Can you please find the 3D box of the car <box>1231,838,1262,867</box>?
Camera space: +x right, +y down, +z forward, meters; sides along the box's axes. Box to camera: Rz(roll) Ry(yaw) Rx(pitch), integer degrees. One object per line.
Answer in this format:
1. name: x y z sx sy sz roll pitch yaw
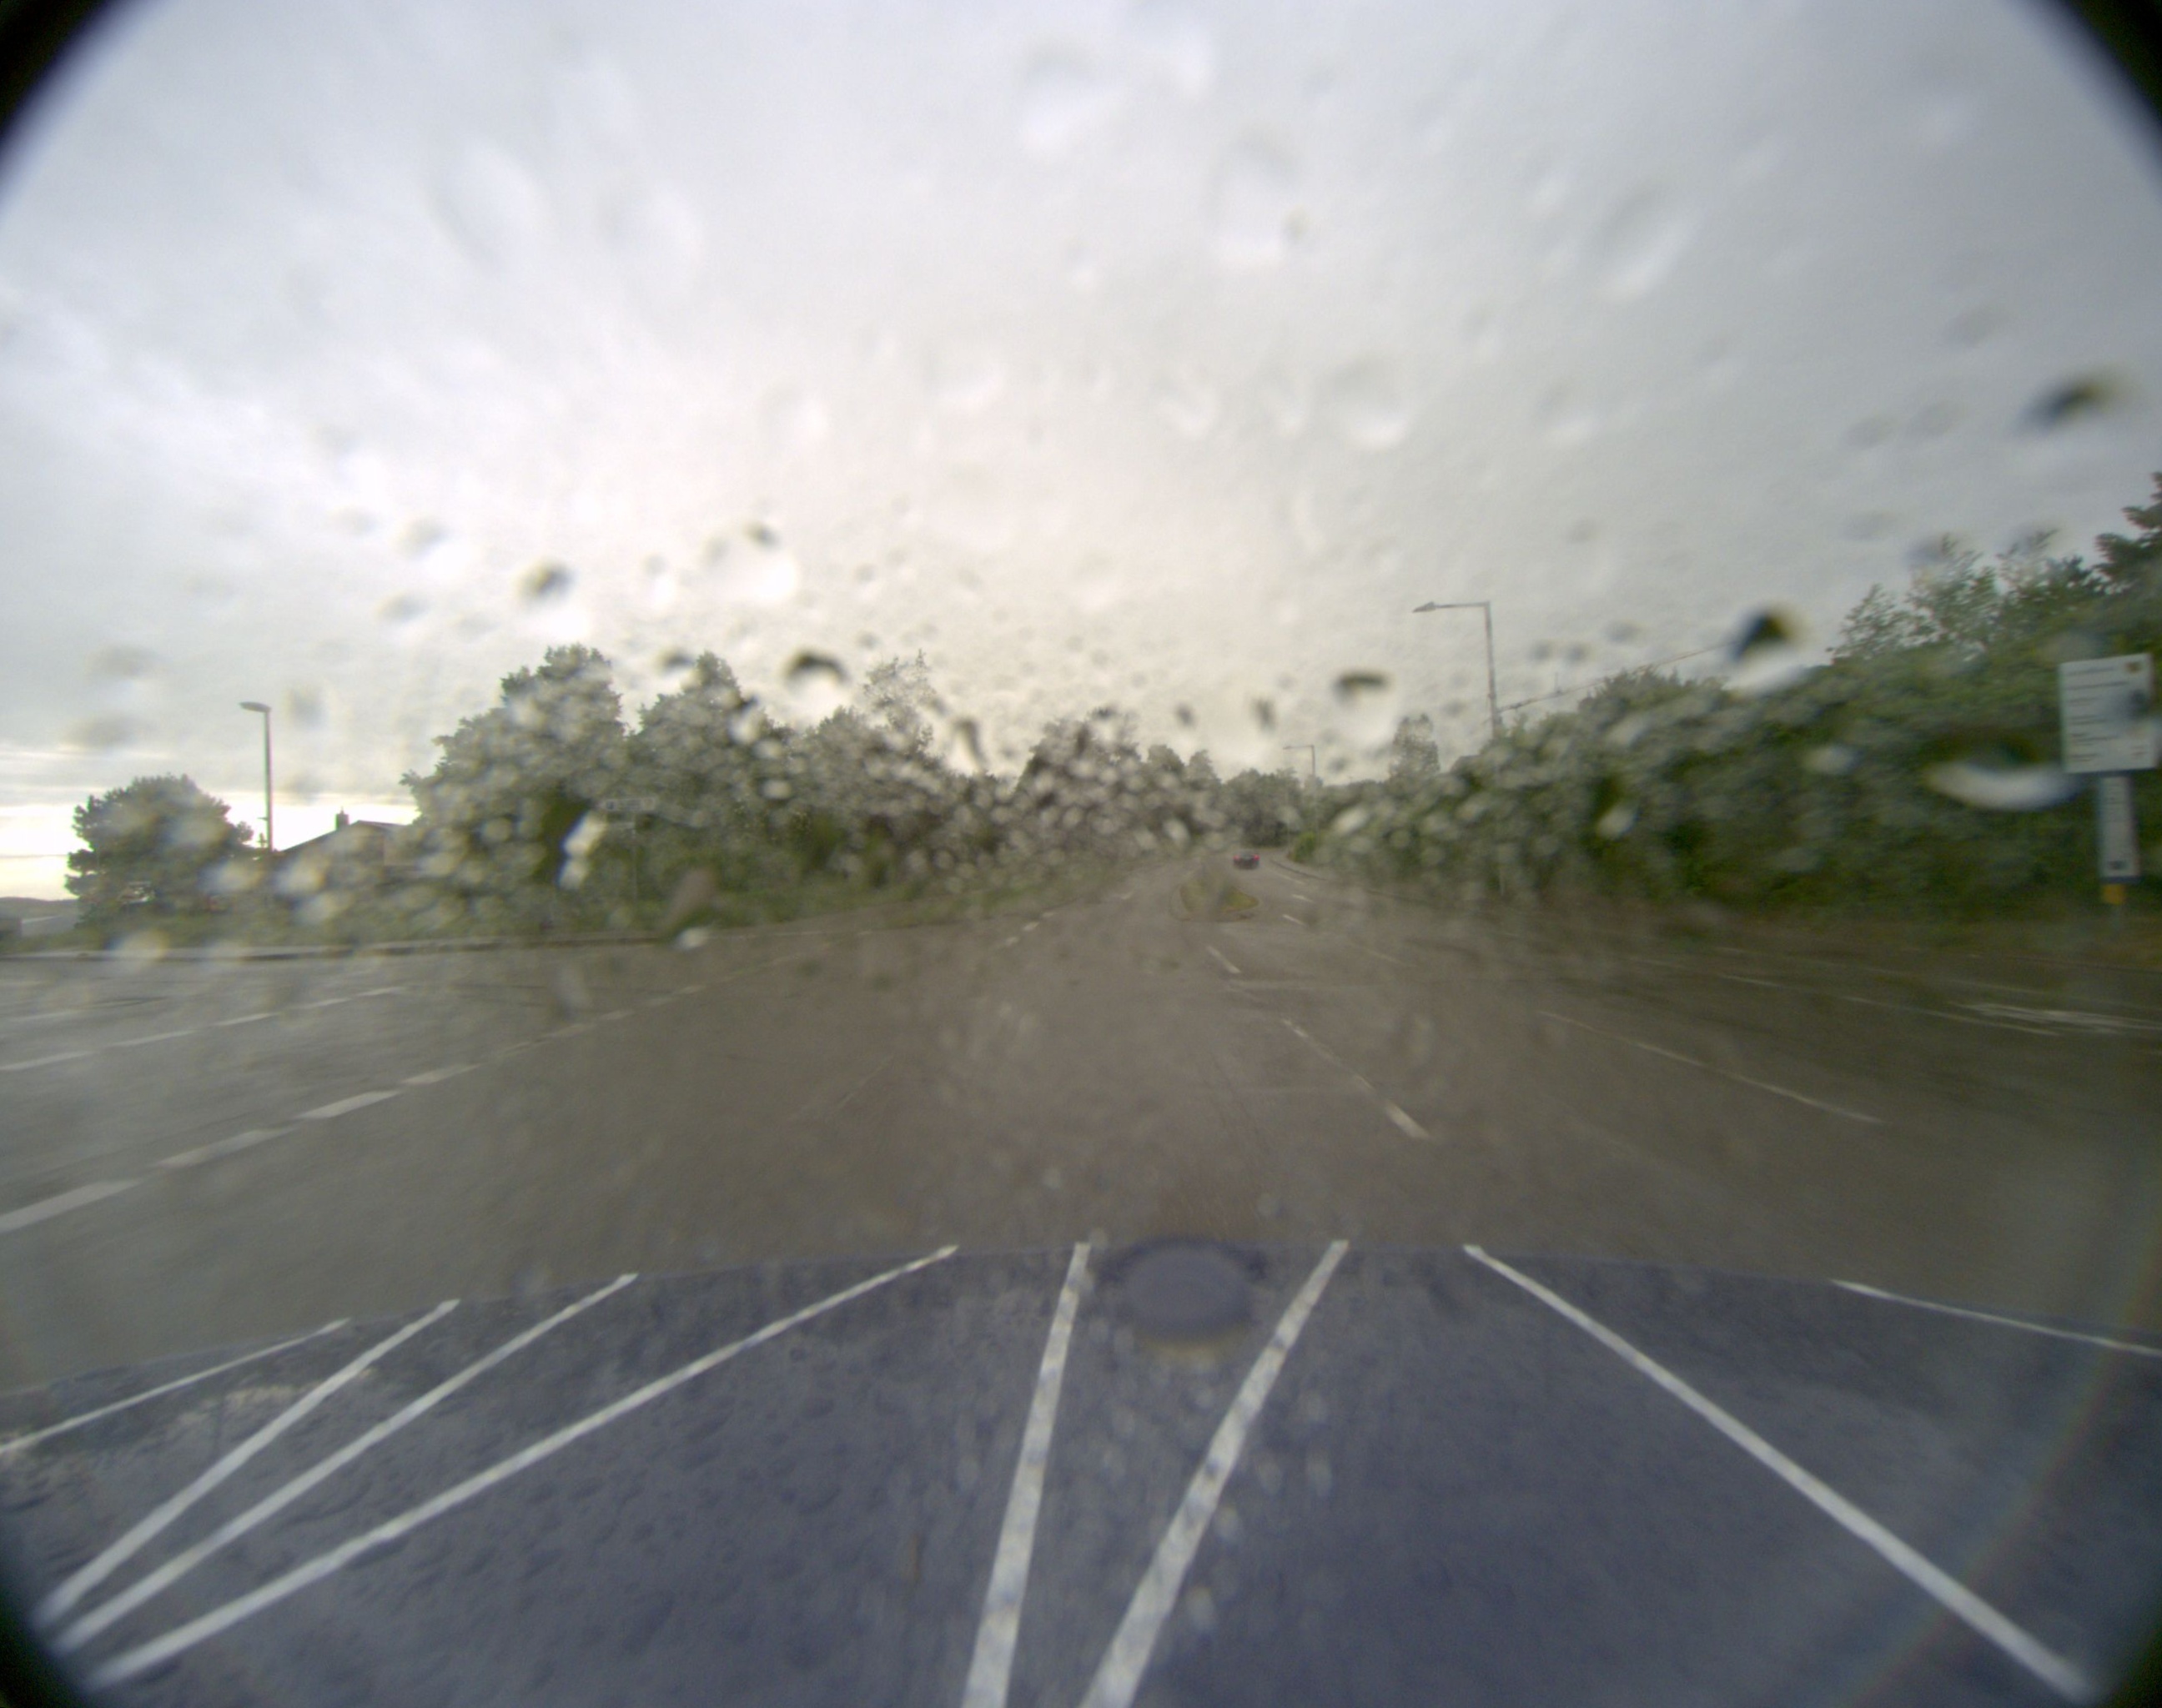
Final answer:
1. car: 12.216 -0.130 56.295 1.965 2.002 4.003 -3 0 10
